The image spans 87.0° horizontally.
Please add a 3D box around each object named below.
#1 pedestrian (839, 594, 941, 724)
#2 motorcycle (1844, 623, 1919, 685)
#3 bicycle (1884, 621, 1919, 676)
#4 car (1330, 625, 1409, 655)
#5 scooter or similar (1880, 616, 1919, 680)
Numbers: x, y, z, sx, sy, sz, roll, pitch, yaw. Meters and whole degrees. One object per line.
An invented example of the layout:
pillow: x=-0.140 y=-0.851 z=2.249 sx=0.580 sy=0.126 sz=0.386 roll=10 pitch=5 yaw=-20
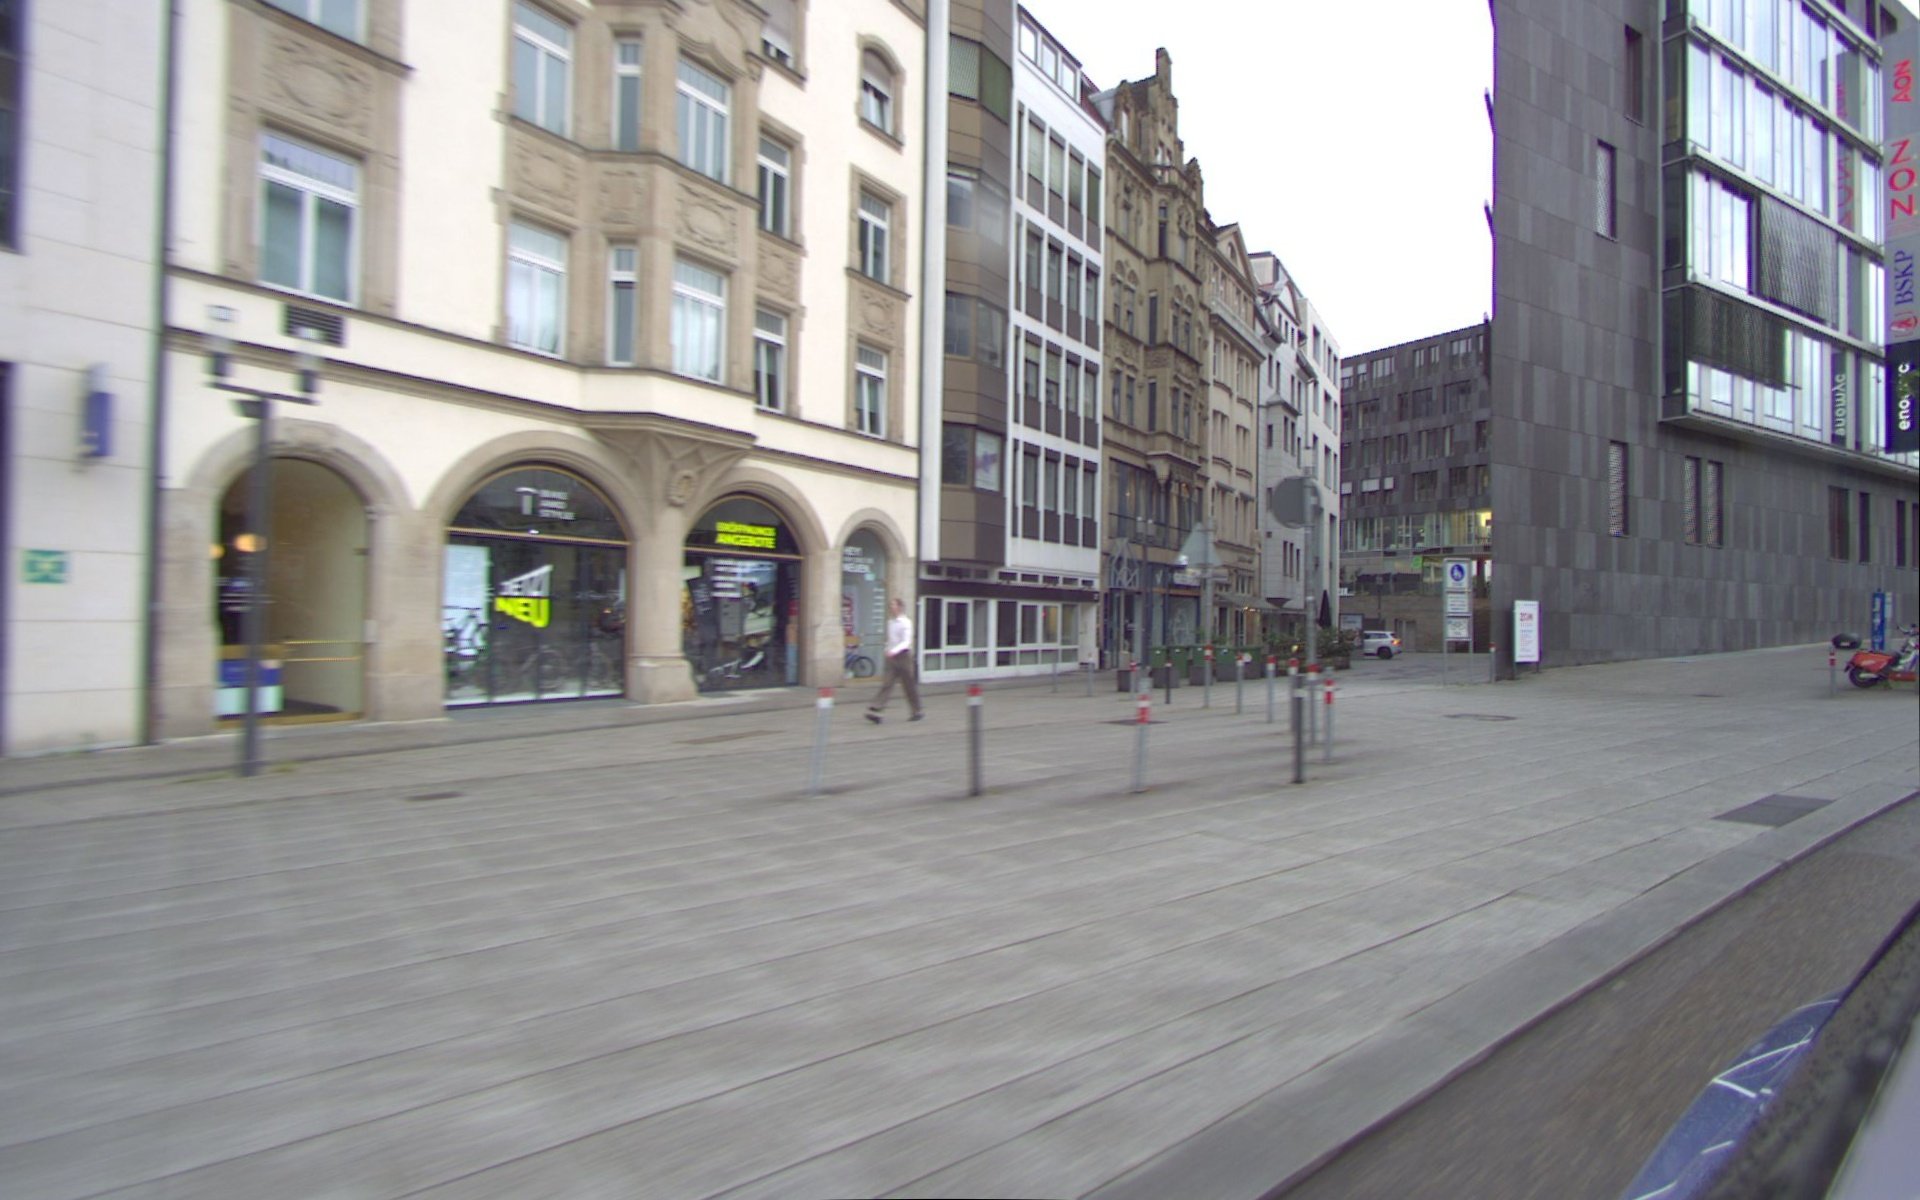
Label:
pedestrian: x=-1.046 y=0.861 z=15.257 sx=1.229 sy=1.861 sz=0.872 roll=0 pitch=-2 yaw=-44
motorcycle: x=18.280 y=1.024 z=19.465 sx=0.585 sy=1.154 sz=1.797 roll=-1 pitch=-1 yaw=-35
bicycle: x=20.320 y=0.998 z=20.819 sx=0.657 sy=1.122 sz=1.799 roll=-1 pitch=-1 yaw=-35
car: x=23.200 y=2.240 z=57.387 sx=4.027 sy=1.639 sz=1.688 roll=-1 pitch=-2 yaw=26
scooter or similar: x=19.325 y=0.941 z=19.828 sx=0.585 sy=1.259 sz=1.797 roll=-1 pitch=-1 yaw=-35
